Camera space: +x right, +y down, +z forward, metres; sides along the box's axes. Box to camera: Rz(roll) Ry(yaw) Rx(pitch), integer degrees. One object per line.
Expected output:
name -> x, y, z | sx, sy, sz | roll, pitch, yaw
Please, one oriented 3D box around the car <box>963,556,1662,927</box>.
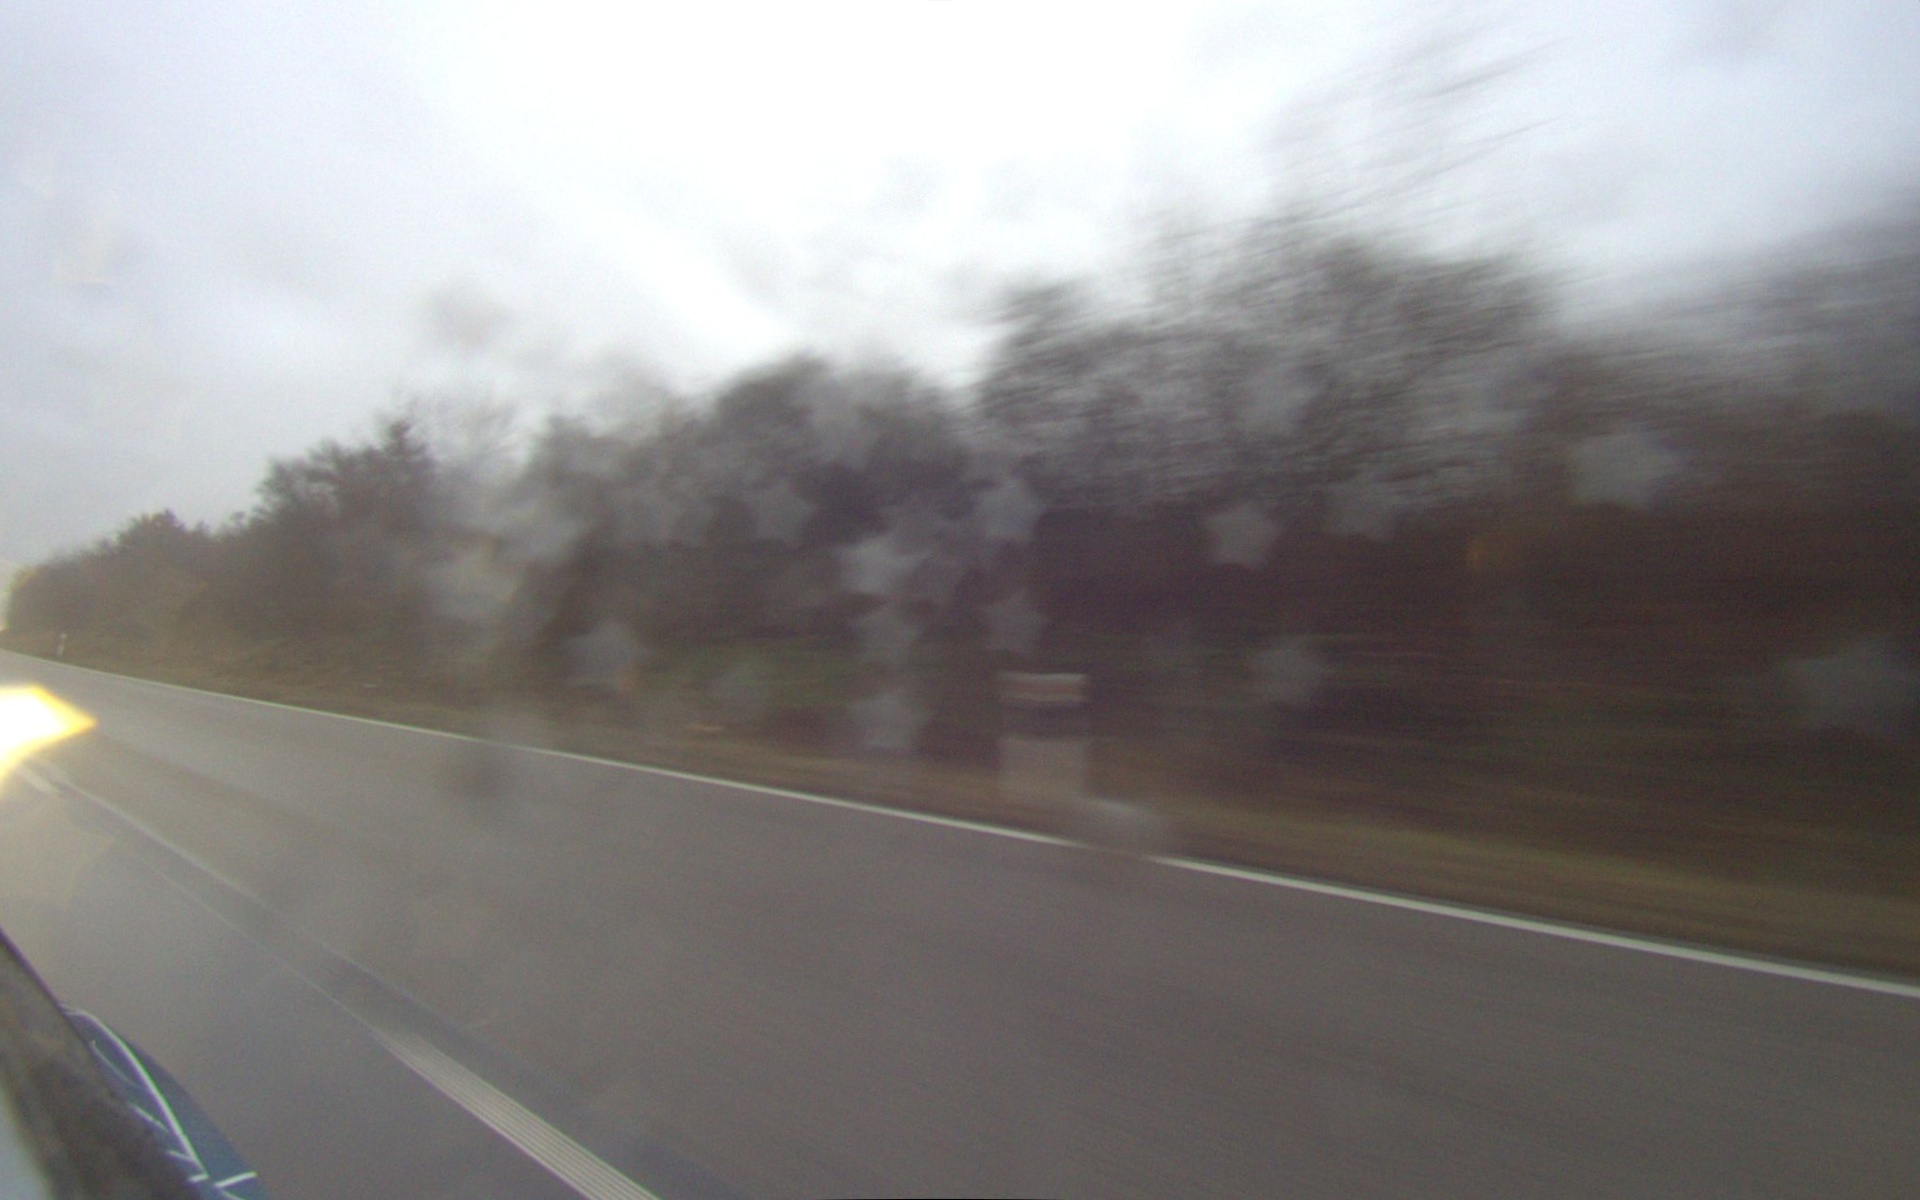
car -> 2.013, 0.659, 6.346 | 3.771, 1.621, 1.757 | -1, -2, 41
